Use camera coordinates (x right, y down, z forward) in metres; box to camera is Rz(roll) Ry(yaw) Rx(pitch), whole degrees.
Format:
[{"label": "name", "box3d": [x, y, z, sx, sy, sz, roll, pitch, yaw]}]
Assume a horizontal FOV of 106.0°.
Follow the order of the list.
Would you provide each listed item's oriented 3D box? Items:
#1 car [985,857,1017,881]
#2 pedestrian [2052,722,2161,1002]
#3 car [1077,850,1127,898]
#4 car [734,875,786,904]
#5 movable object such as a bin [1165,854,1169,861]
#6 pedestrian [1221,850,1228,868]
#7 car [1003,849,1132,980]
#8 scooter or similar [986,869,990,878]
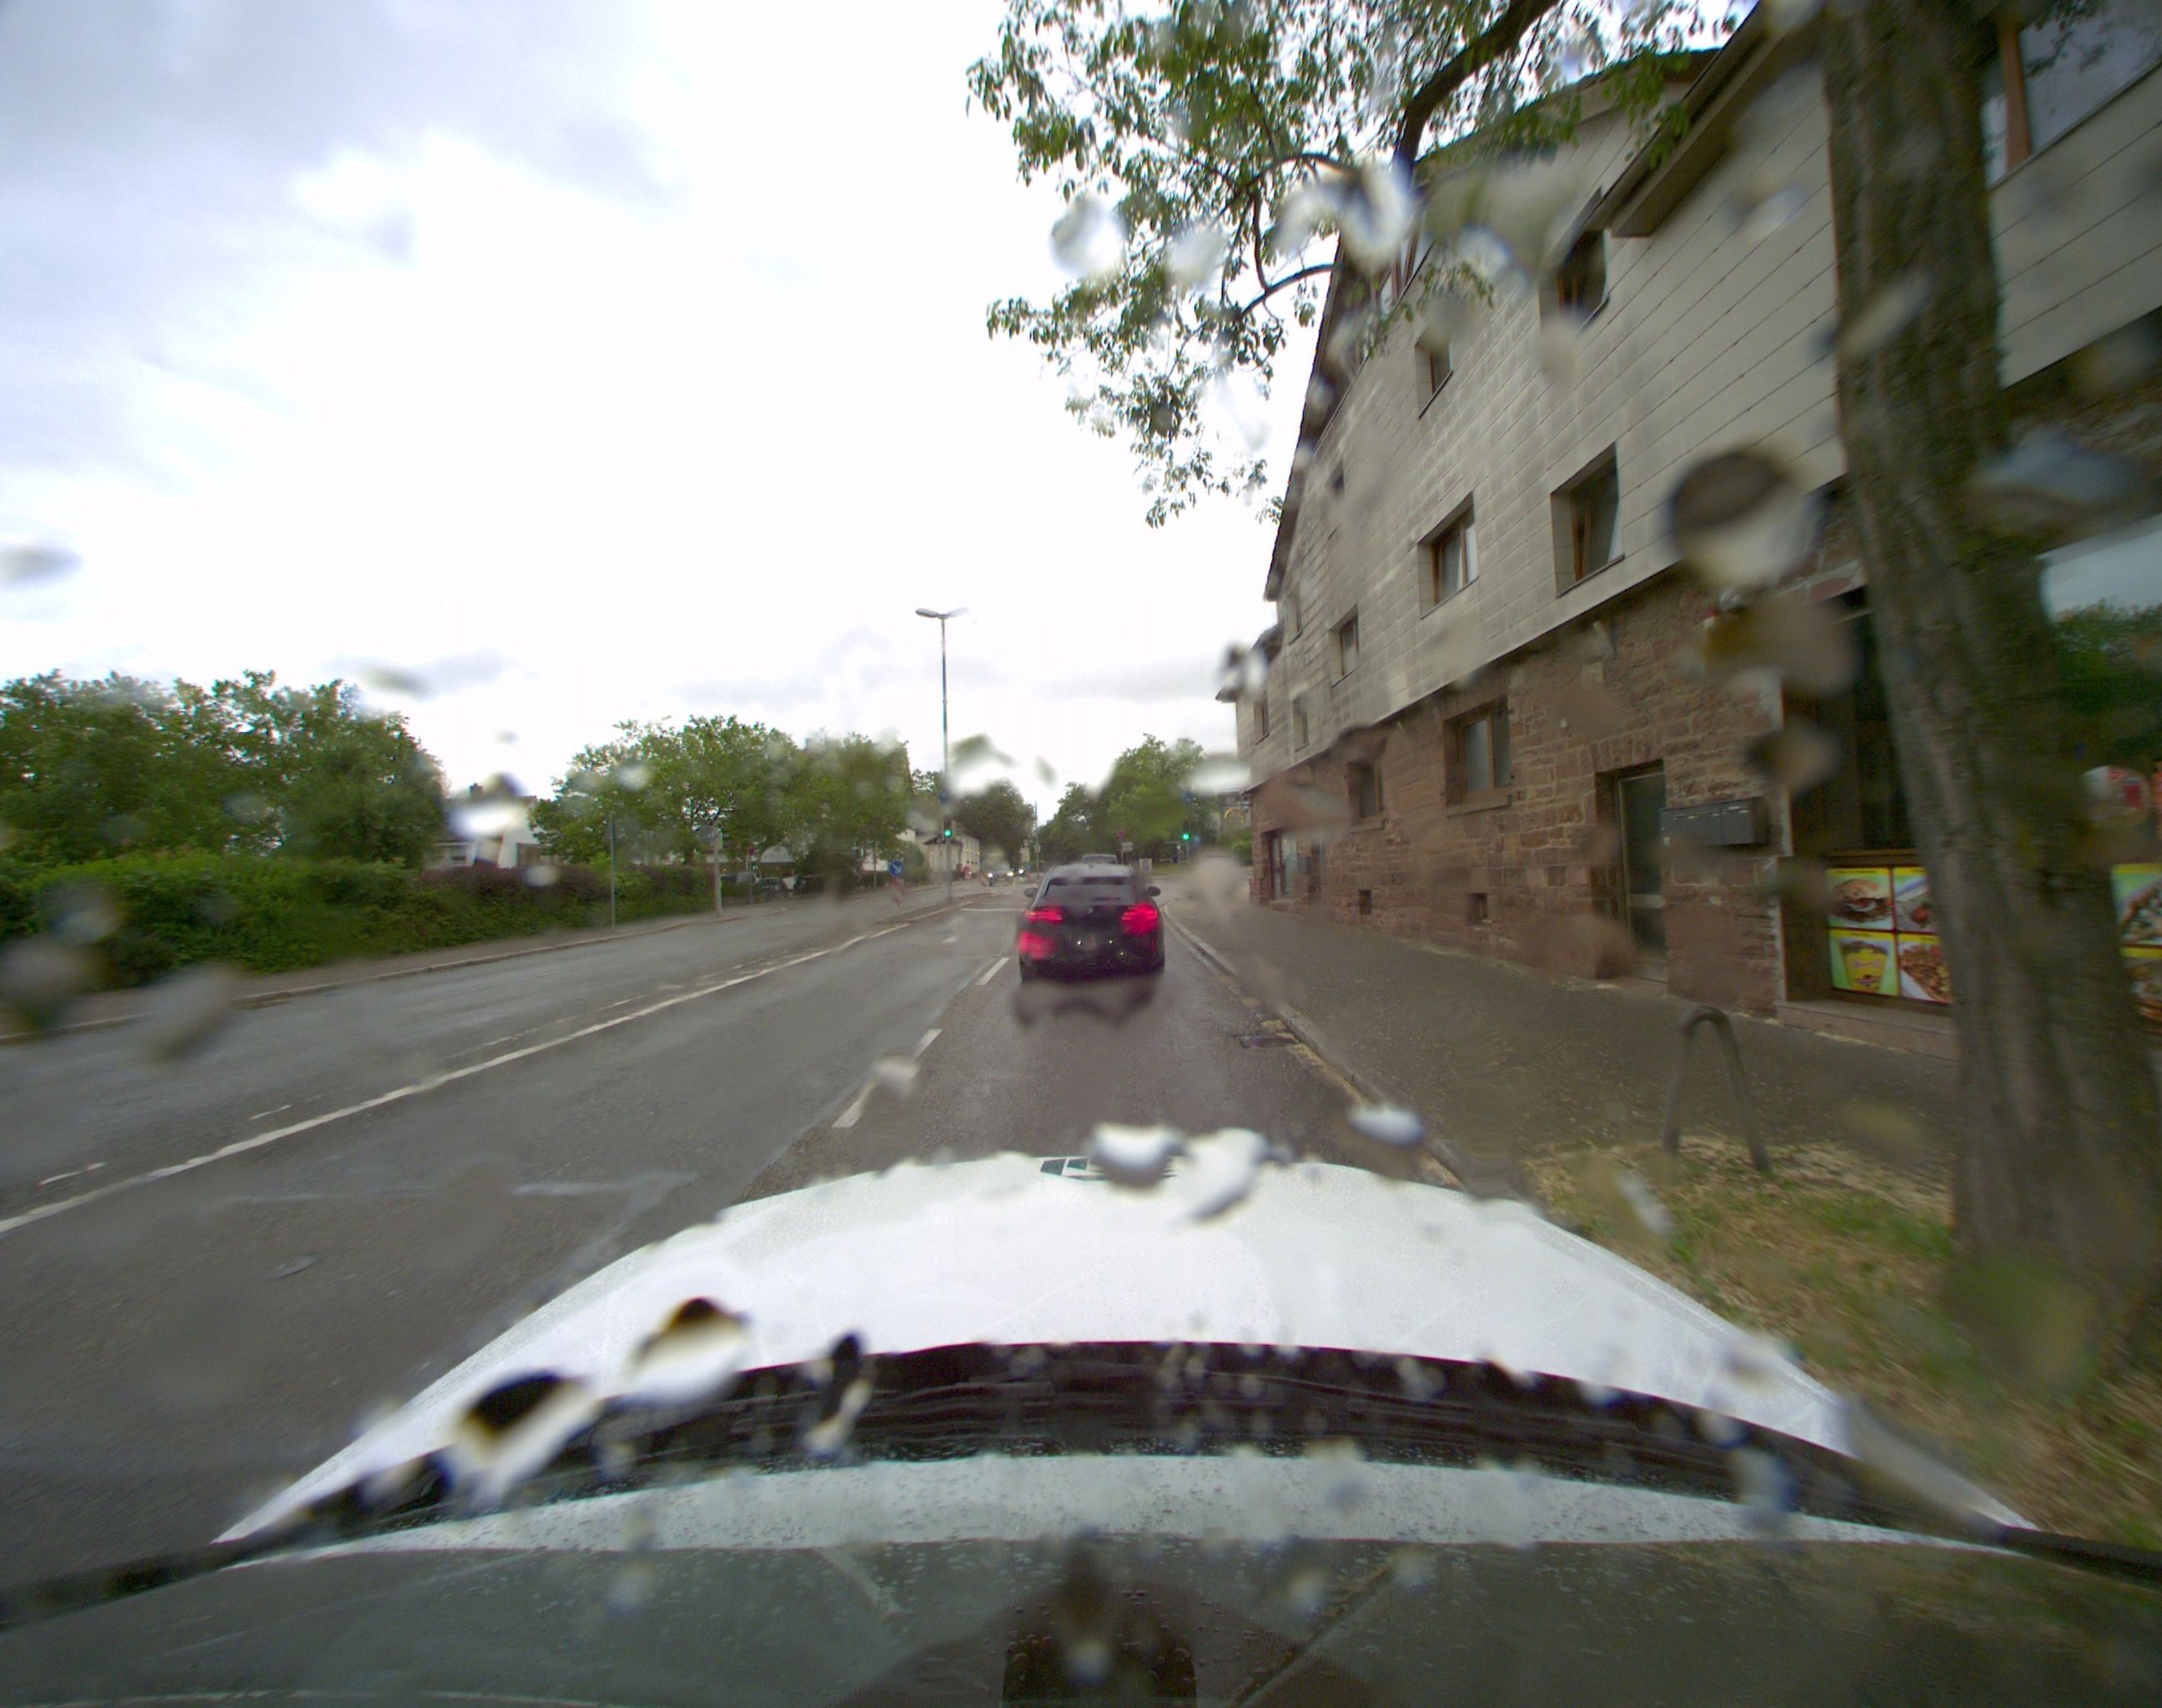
[{"label": "car", "box3d": [-5.746, 1.048, 58.648, 1.893, 1.577, 4.500, -2, 0, -1]}, {"label": "pedestrian", "box3d": [6.572, 0.048, 5.057, 0.490, 1.660, 0.454, 0, -1, 1]}, {"label": "car", "box3d": [0.770, 0.801, 32.579, 1.807, 1.809, 3.754, 0, -1, -1]}, {"label": "car", "box3d": [-21.292, 2.330, 54.160, 1.803, 1.551, 4.000, 0, 3, 0]}, {"label": "movable object such as a bin", "box3d": [11.790, 0.527, 111.662, 0.446, 0.906, 0.465, -1, -1, 17]}, {"label": "pedestrian", "box3d": [12.825, 0.477, 72.877, 0.597, 1.617, 0.527, -1, -1, 8]}, {"label": "car", "box3d": [-0.193, 0.746, 11.423, 1.519, 1.534, 3.529, 0, -1, -1]}, {"label": "scooter or similar", "box3d": [-11.595, 2.451, 101.569, 0.388, 1.064, 1.409, 0, -1, -2]}]
